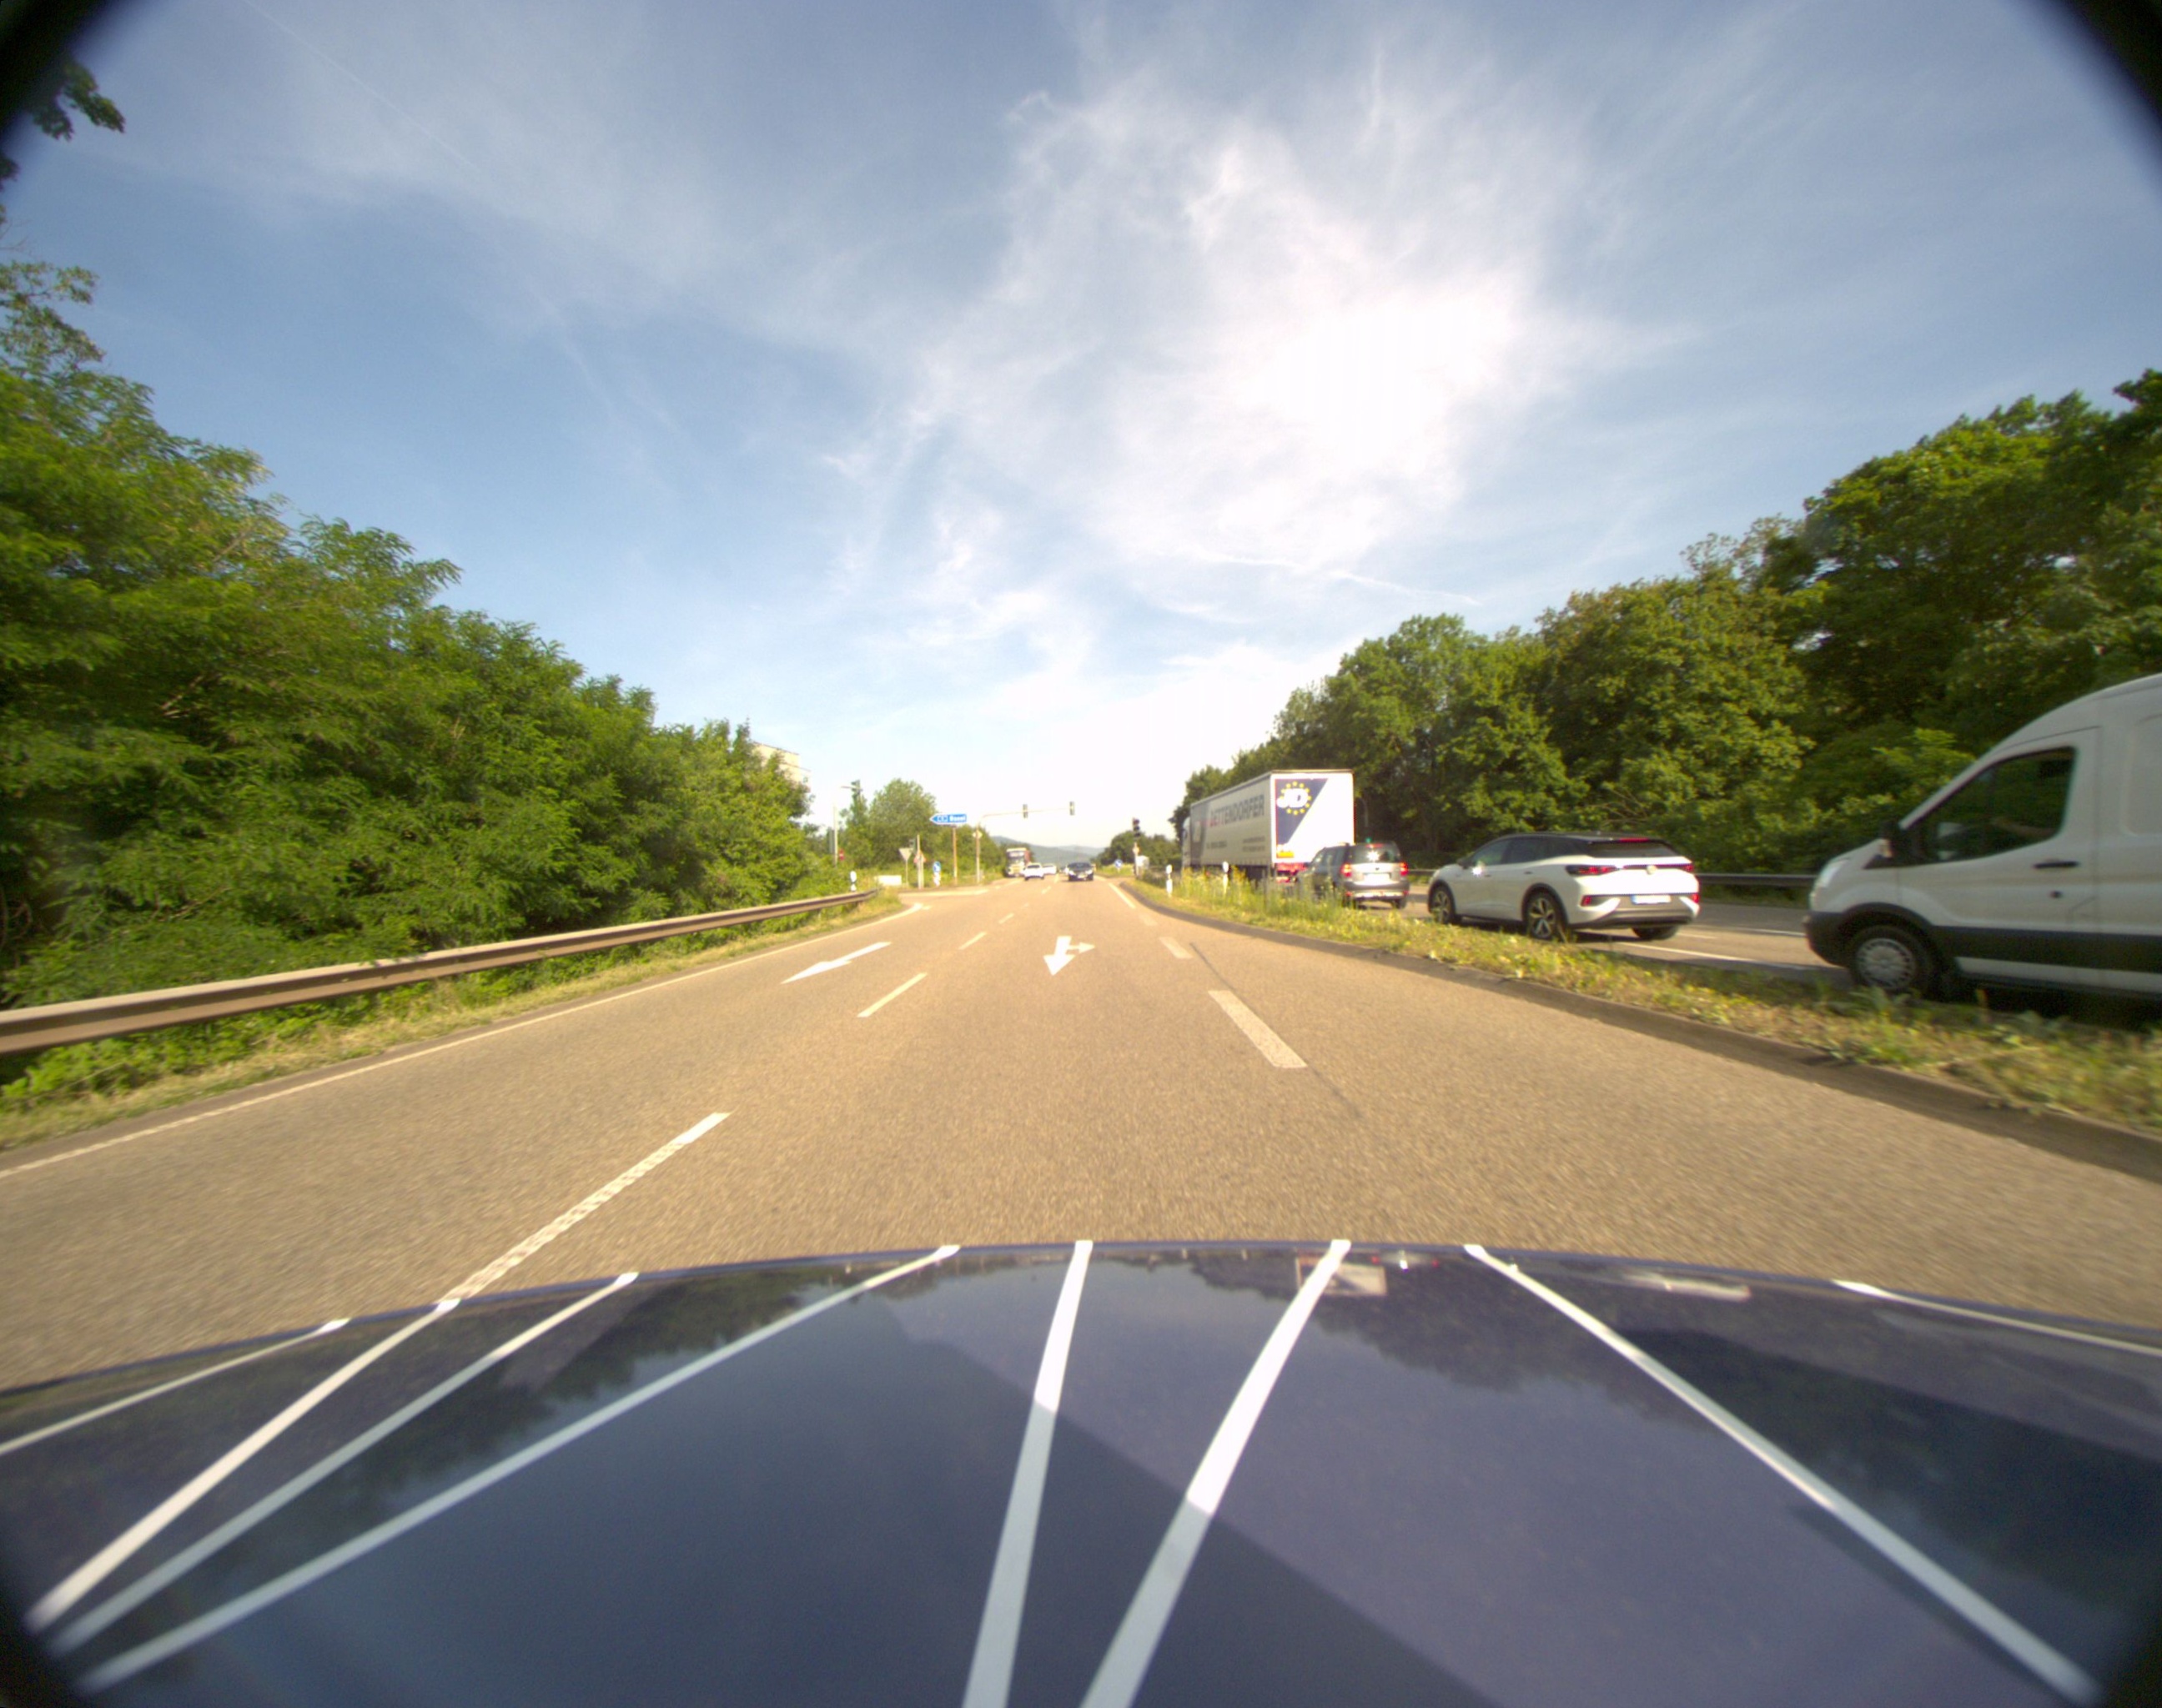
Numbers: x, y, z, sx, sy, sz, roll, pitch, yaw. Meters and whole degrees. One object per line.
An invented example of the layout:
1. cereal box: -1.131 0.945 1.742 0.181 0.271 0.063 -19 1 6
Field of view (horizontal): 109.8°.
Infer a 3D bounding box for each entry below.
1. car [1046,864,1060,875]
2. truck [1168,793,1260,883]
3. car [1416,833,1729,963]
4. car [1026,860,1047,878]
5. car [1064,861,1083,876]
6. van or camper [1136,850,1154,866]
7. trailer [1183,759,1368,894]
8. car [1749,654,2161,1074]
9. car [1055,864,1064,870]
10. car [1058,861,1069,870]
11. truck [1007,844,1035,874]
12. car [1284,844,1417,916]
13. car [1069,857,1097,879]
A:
1. car: -4.388 2.391 118.452 1.999 1.632 3.999 -4 0 -4
2. truck: 6.545 -0.692 38.430 2.899 3.973 6.720 -4 0 -3
3. car: 7.342 0.585 12.088 1.705 1.622 4.746 -1 0 -3
4. car: -4.200 1.410 72.384 1.875 1.625 4.833 -1 0 -3
5. car: -0.948 1.683 91.181 1.999 1.632 3.999 -4 0 -2
6. van or camper: 11.306 0.737 134.179 2.419 2.695 6.436 0 0 -1
7. trailer: 6.924 -0.768 30.338 3.000 3.972 14.011 -4 0 -3
8. car: 7.527 0.040 4.215 2.080 2.518 6.163 -1 0 -1
9. car: -5.878 3.534 208.279 1.999 1.632 3.999 -4 0 -4
10. car: -3.684 2.391 156.454 1.999 1.632 3.999 -4 0 -4
11. truck: -8.734 0.741 111.709 3.197 3.995 14.562 -4 0 -2
12. car: 6.800 0.615 19.705 1.705 1.622 4.370 -1 0 -3
13. car: 0.104 1.044 57.264 1.862 1.452 4.568 -4 0 -2
